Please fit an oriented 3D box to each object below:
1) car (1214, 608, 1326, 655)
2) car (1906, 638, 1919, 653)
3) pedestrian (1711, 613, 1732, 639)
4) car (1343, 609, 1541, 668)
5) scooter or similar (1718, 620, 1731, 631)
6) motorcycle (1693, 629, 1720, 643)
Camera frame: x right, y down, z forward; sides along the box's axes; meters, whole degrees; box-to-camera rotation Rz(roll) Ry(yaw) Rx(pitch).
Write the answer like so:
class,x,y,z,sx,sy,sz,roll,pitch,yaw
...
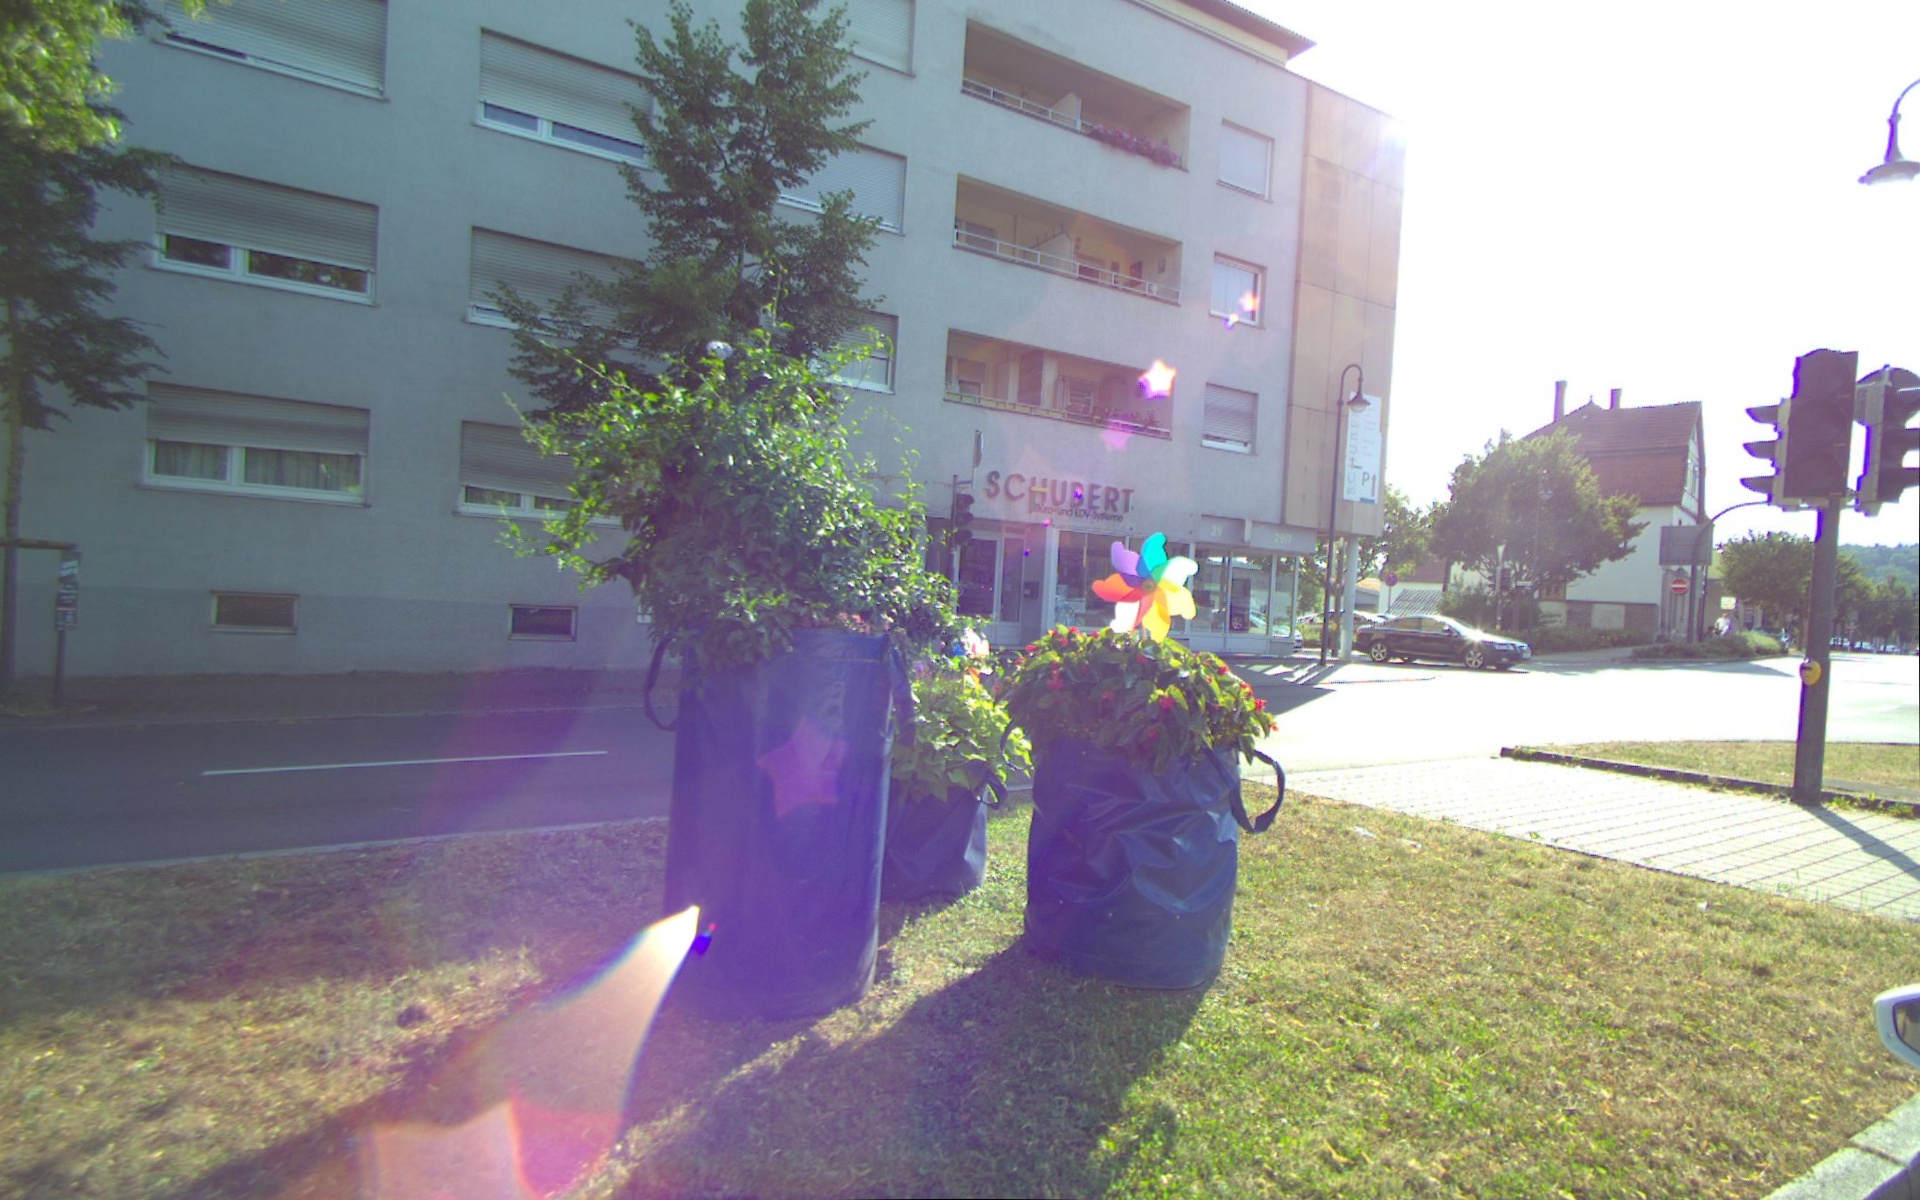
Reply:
class,x,y,z,sx,sy,sz,roll,pitch,yaw
car,10.552,1.032,34.517,1.838,1.456,3.811,2,0,-17
car,95.769,4.541,100.232,4.455,1.379,1.739,2,0,-44
pedestrian,42.723,1.436,56.356,0.804,1.413,0.703,2,0,44
car,13.820,1.070,29.051,1.900,1.456,4.822,2,-1,-37
scooter or similar,42.272,1.430,55.547,0.439,0.590,1.038,2,0,43
motorcycle,58.749,2.824,79.029,1.836,1.083,0.516,2,0,-9
